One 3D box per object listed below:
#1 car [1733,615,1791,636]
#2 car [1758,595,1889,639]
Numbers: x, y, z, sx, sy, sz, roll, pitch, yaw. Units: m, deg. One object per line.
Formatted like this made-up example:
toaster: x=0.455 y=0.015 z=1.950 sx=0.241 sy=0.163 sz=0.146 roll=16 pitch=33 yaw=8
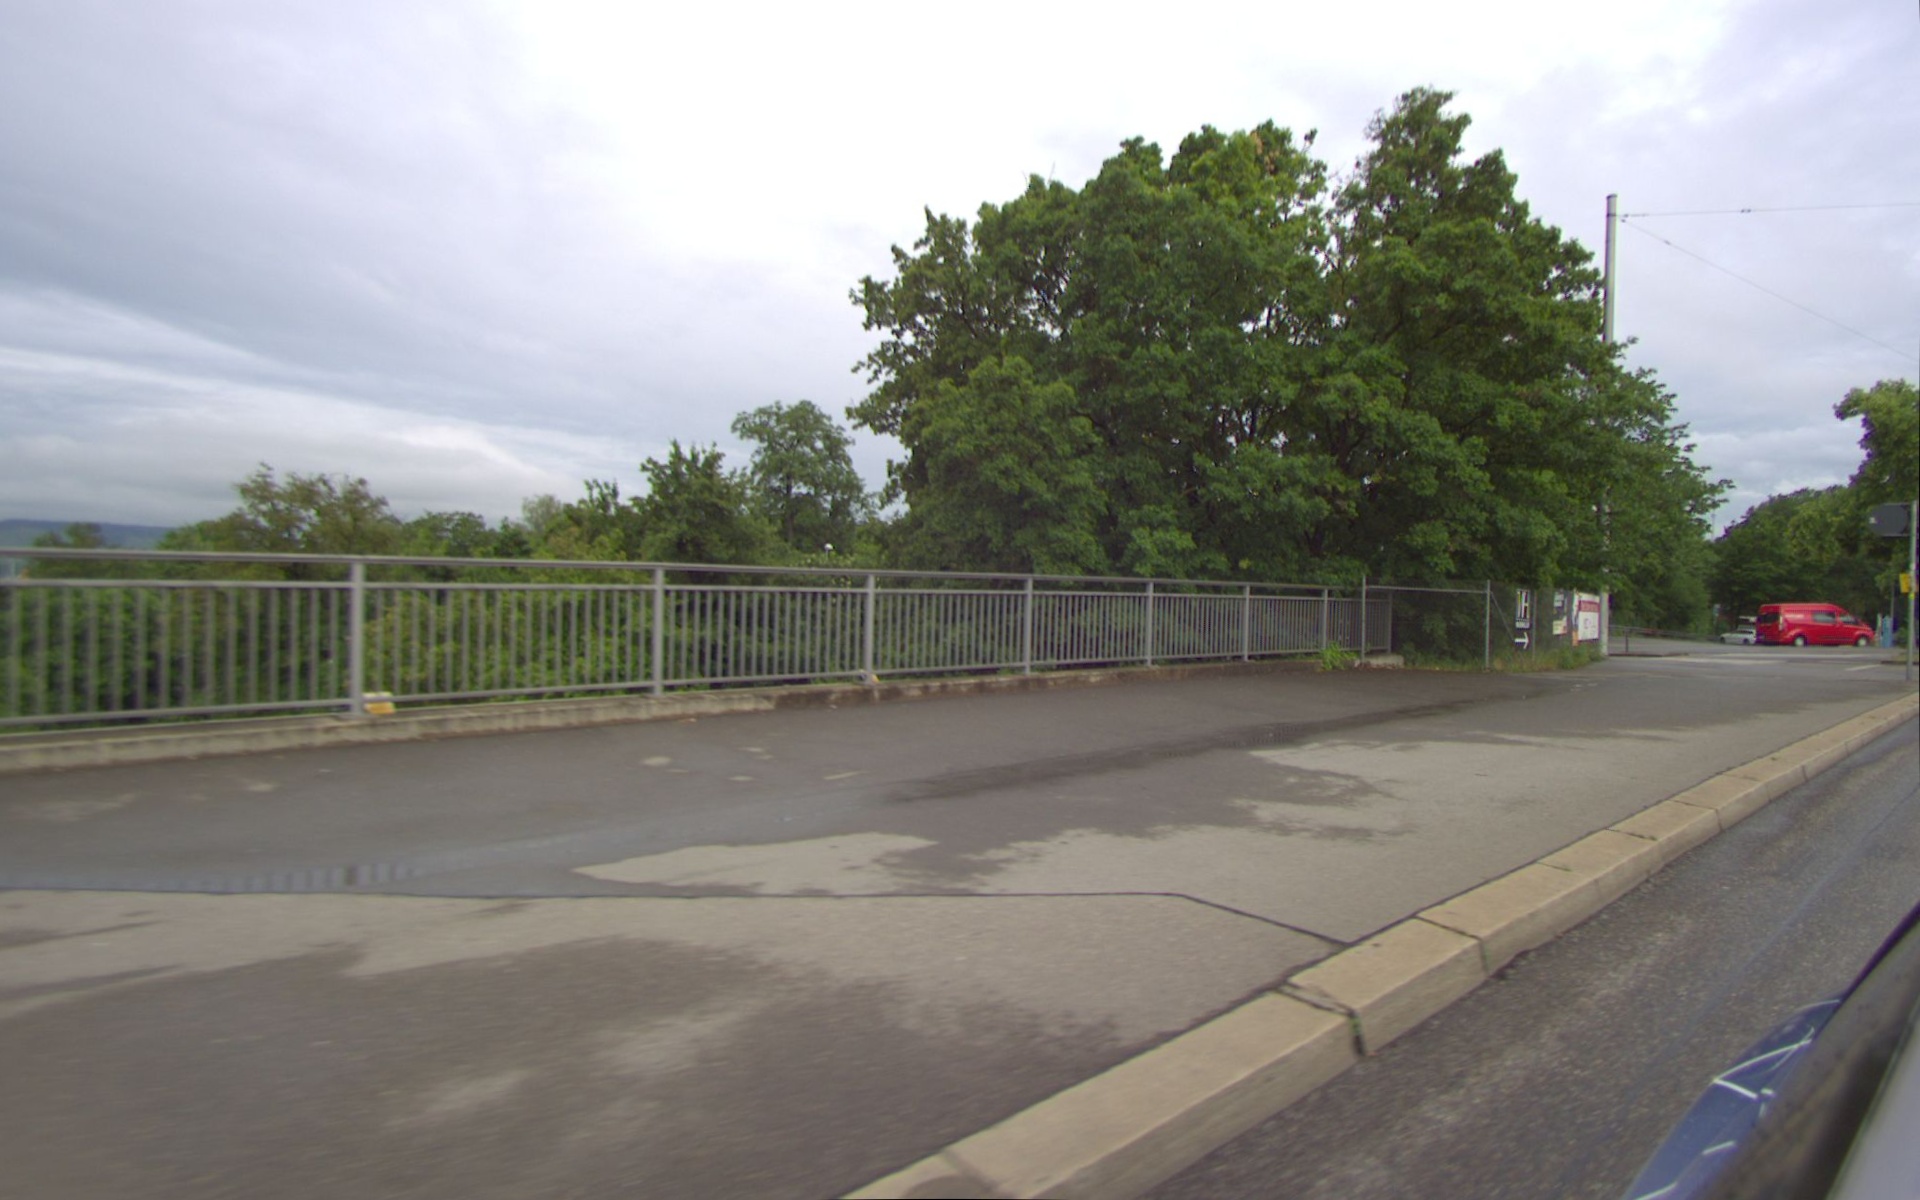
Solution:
car: x=66.197 y=2.090 z=83.630 sx=1.855 sy=1.533 sz=3.801 roll=1 pitch=1 yaw=3
car: x=44.808 y=0.867 z=52.590 sx=4.937 sy=2.220 sz=1.999 roll=0 pitch=0 yaw=2
